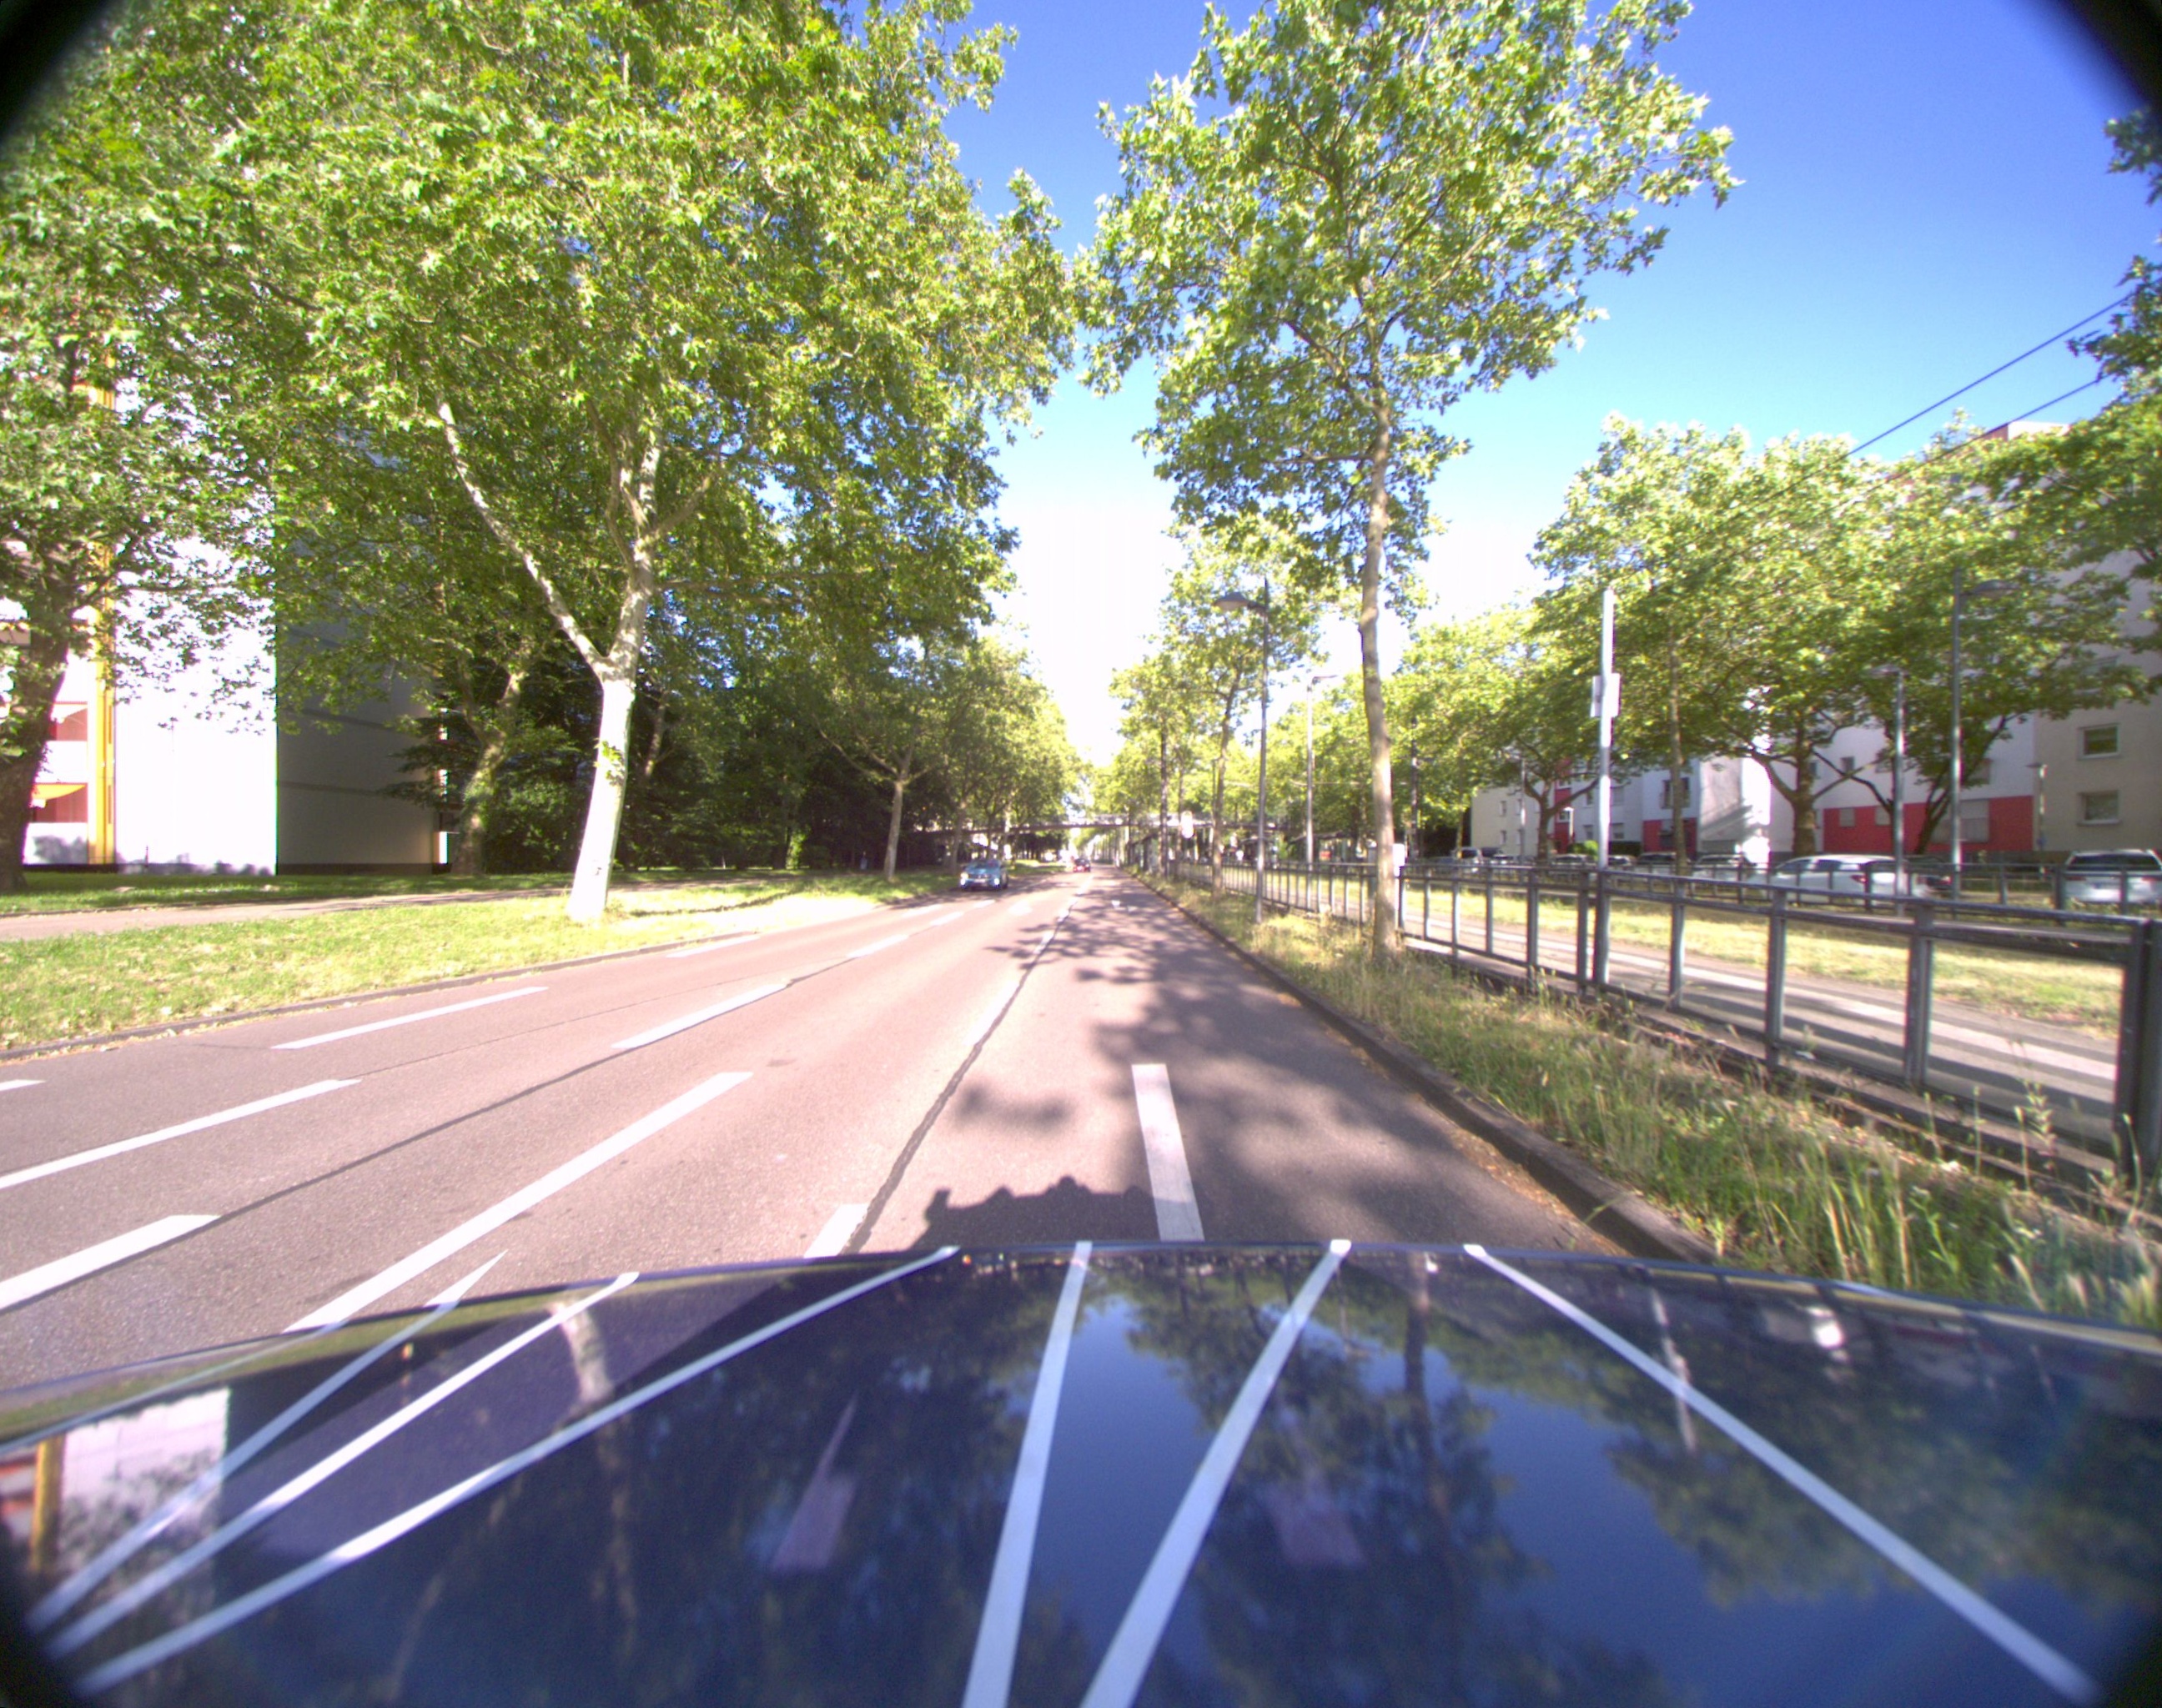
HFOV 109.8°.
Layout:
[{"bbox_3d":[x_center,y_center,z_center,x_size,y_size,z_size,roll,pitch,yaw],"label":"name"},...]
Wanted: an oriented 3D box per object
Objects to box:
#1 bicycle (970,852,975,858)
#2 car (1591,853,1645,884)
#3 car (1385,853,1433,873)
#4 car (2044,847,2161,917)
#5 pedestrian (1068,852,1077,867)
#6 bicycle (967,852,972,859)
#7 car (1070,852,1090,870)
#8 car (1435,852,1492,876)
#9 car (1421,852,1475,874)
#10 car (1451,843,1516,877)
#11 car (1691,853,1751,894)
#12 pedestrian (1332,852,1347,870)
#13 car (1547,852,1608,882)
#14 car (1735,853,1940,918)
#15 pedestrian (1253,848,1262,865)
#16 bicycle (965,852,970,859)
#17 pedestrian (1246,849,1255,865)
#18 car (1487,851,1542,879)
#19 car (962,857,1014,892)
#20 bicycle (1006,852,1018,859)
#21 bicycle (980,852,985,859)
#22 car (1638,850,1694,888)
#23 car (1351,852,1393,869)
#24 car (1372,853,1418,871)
[{"bbox_3d":[-20.164,0.187,141.090,0.577,1.246,1.806,-1,1,0],"label":"bicycle"},{"bbox_3d":[26.143,0.686,36.931,1.571,1.424,4.068,-2,-1,43],"label":"car"},{"bbox_3d":[26.767,0.719,61.957,4.208,1.420,1.696,-1,-1,-37],"label":"car"},{"bbox_3d":[25.123,0.630,18.688,4.001,1.535,1.642,-1,-1,-40],"label":"car"},{"bbox_3d":[-1.035,0.704,92.134,0.658,1.766,0.741,-1,-1,39],"label":"pedestrian"},{"bbox_3d":[-19.691,0.192,134.498,0.577,1.246,1.806,-1,1,0],"label":"bicycle"},{"bbox_3d":[-0.091,0.666,74.692,1.898,1.602,4.000,-1,1,1],"label":"car"},{"bbox_3d":[26.426,0.676,52.435,4.509,1.489,1.895,-1,-1,-40],"label":"car"},{"bbox_3d":[27.081,0.630,56.006,4.509,1.489,1.895,-1,-1,-40],"label":"car"},{"bbox_3d":[25.996,0.397,49.058,4.508,2.051,1.895,-2,-1,-37],"label":"car"},{"bbox_3d":[25.348,0.739,30.042,1.571,1.465,4.068,-2,-1,43],"label":"car"},{"bbox_3d":[16.490,0.451,48.502,0.696,1.121,0.662,3,1,2],"label":"pedestrian"},{"bbox_3d":[26.106,0.660,39.864,1.895,1.495,4.509,-2,-1,43],"label":"car"},{"bbox_3d":[19.226,0.735,19.568,1.635,1.441,3.718,-1,1,1],"label":"car"},{"bbox_3d":[17.424,0.265,74.952,0.731,1.625,0.715,1,1,-1],"label":"pedestrian"},{"bbox_3d":[-19.512,0.222,130.503,0.577,1.246,1.806,-1,1,0],"label":"bicycle"},{"bbox_3d":[16.820,0.308,75.320,0.644,1.505,0.683,1,1,-11],"label":"pedestrian"},{"bbox_3d":[26.326,0.629,46.049,4.068,1.601,1.685,-1,-1,-42],"label":"car"},{"bbox_3d":[-4.295,0.907,35.562,1.780,1.475,4.100,-2,0,2],"label":"car"},{"bbox_3d":[-12.692,0.274,140.081,2.073,1.151,0.561,1,1,-10],"label":"bicycle"},{"bbox_3d":[-18.596,0.207,143.172,0.577,1.246,1.806,-1,1,0],"label":"bicycle"},{"bbox_3d":[25.948,0.640,33.654,1.571,1.559,4.068,-2,-1,43],"label":"car"},{"bbox_3d":[27.393,0.623,71.530,4.208,1.420,1.696,-1,-1,-37],"label":"car"},{"bbox_3d":[26.806,0.694,64.747,4.208,1.420,1.696,-1,-1,-37],"label":"car"}]
